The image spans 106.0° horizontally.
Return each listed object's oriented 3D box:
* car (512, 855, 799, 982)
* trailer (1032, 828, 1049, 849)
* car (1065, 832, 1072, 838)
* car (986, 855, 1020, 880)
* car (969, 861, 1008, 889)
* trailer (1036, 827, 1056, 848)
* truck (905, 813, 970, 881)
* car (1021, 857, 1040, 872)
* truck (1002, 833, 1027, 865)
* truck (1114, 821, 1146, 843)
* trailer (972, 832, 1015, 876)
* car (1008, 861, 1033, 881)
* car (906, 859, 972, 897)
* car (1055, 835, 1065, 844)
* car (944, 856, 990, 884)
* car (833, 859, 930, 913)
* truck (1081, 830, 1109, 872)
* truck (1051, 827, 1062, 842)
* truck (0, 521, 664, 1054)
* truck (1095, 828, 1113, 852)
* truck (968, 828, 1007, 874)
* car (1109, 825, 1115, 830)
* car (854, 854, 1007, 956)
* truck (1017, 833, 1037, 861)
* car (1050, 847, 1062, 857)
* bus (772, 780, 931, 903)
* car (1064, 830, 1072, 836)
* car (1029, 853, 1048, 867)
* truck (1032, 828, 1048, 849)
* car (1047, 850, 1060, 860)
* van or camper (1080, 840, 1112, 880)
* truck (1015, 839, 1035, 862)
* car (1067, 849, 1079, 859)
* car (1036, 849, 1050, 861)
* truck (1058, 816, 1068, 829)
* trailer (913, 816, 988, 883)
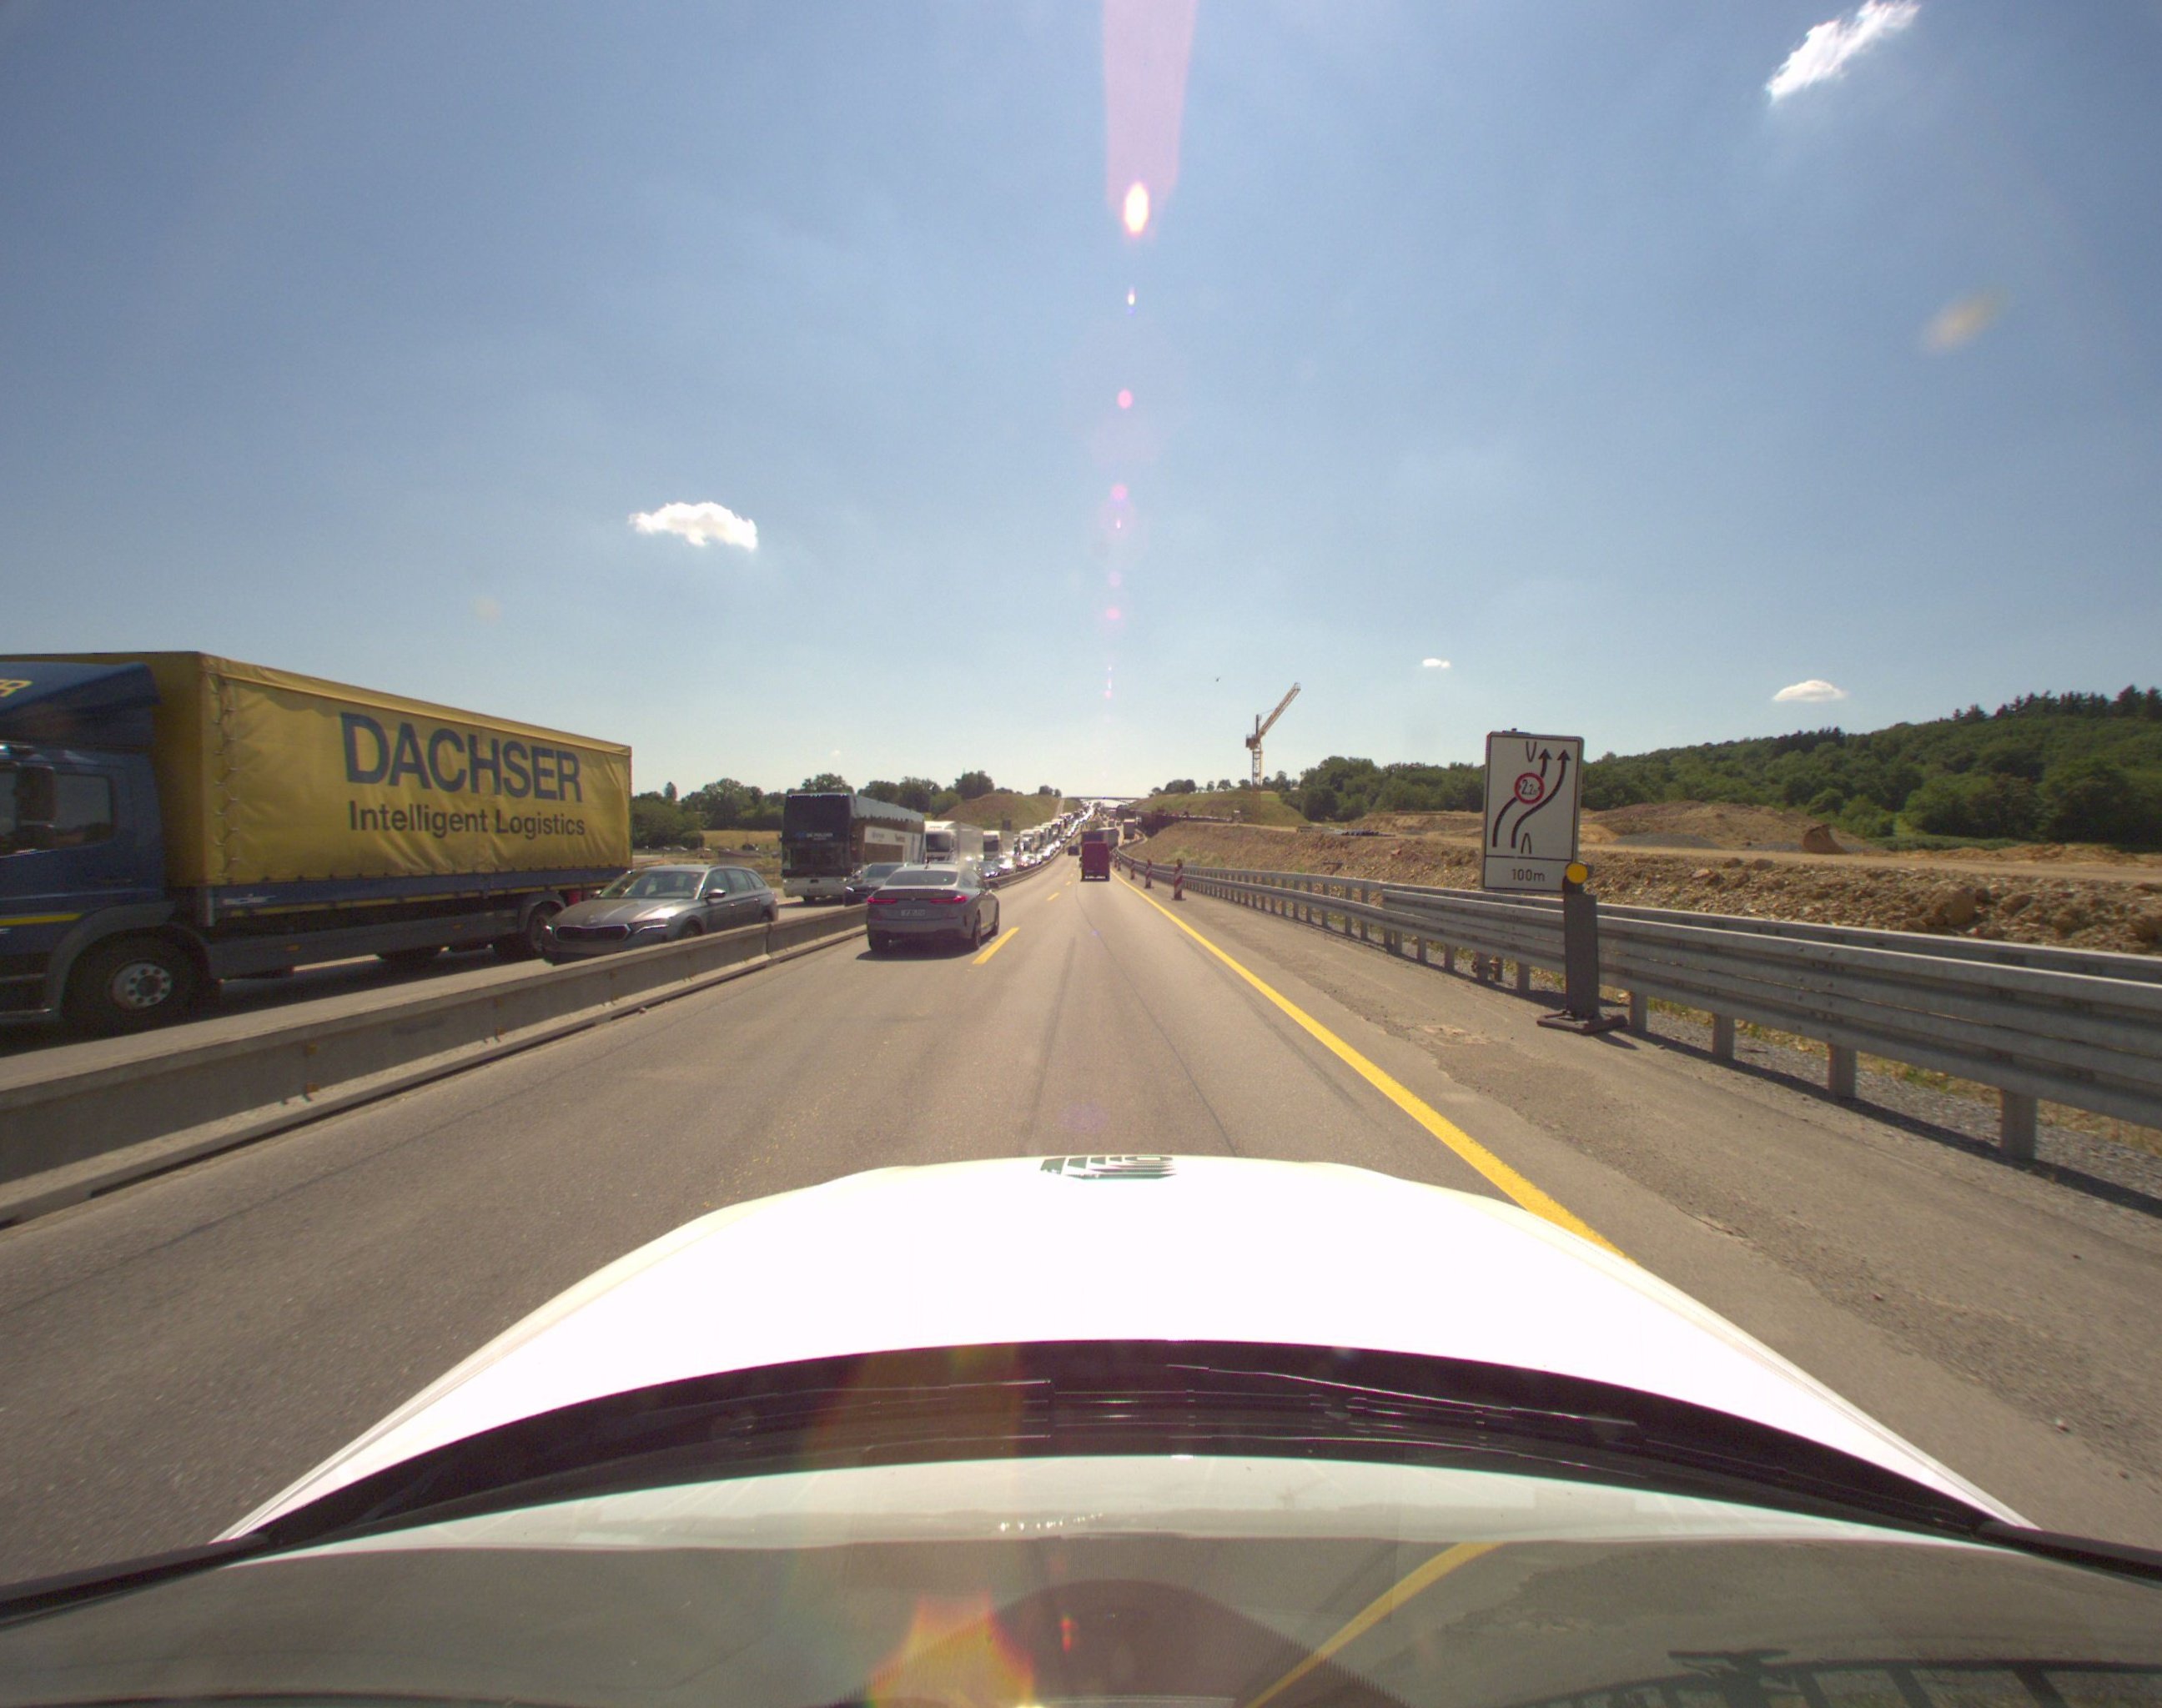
[{"bbox_3d":[-6.163,0.811,12.628,1.853,1.494,4.903,-3,0,-1],"label":"car"},{"bbox_3d":[-7.933,-3.021,160.444,2.774,3.931,11.007,0,0,0],"label":"trailer"},{"bbox_3d":[-3.310,-5.130,216.368,1.946,1.530,4.268,0,1,0],"label":"car"},{"bbox_3d":[-5.743,0.965,60.537,1.987,1.620,4.881,-2,0,0],"label":"car"},{"bbox_3d":[-5.580,1.265,49.725,1.807,1.437,5.120,1,1,0],"label":"car"},{"bbox_3d":[-7.464,-3.571,176.486,3.030,4.551,12.138,0,1,3],"label":"trailer"},{"bbox_3d":[-9.379,-0.457,54.078,3.087,4.197,6.702,0,0,0],"label":"truck"},{"bbox_3d":[-5.382,1.117,86.968,1.821,1.574,3.999,0,-1,0],"label":"car"},{"bbox_3d":[-8.396,-0.621,103.495,2.517,3.855,8.670,0,1,0],"label":"truck"},{"bbox_3d":[11.931,-5.268,197.007,5.124,4.996,13.927,-2,1,13],"label":"truck"},{"bbox_3d":[-8.913,-0.034,85.005,2.976,4.208,13.944,0,0,0],"label":"trailer"},{"bbox_3d":[-5.545,1.504,75.087,1.987,1.631,4.757,1,1,-1],"label":"car"},{"bbox_3d":[-6.018,0.956,35.100,1.912,1.423,5.090,1,0,0],"label":"car"},{"bbox_3d":[-4.509,-3.096,176.178,1.987,1.783,3.999,0,1,-1],"label":"car"},{"bbox_3d":[-6.001,0.813,43.300,1.827,1.423,4.682,-1,0,-1],"label":"car"},{"bbox_3d":[-6.154,0.922,25.735,1.832,1.443,4.930,0,1,0],"label":"car"},{"bbox_3d":[1.631,-0.377,96.276,3.010,4.692,6.934,-2,1,1],"label":"truck"},{"bbox_3d":[-6.032,-4.799,202.458,2.676,3.839,7.382,0,1,-1],"label":"truck"},{"bbox_3d":[-9.712,-0.453,10.957,2.792,4.152,10.080,-1,-1,1],"label":"truck"},{"bbox_3d":[4.098,-2.434,146.238,3.028,4.100,7.084,-1,-1,0],"label":"truck"},{"bbox_3d":[-8.921,-0.279,78.107,2.967,4.184,5.874,0,0,0],"label":"truck"},{"bbox_3d":[9.627,-8.240,253.982,1.946,1.641,4.267,0,0,0],"label":"car"},{"bbox_3d":[-2.511,0.777,14.821,1.845,1.452,4.743,0,1,1],"label":"car"},{"bbox_3d":[-8.472,-1.139,127.543,2.542,4.230,6.531,-1,1,1],"label":"truck"},{"bbox_3d":[-4.726,-0.352,154.344,1.988,1.783,3.998,-2,0,-1],"label":"car"},{"bbox_3d":[-9.282,-0.393,35.456,2.730,4.264,14.474,-1,0,0],"label":"bus"},{"bbox_3d":[-3.091,-4.966,196.592,1.741,1.409,4.000,0,1,0],"label":"car"},{"bbox_3d":[-5.095,0.742,98.591,1.987,1.557,4.339,-2,0,1],"label":"car"},{"bbox_3d":[-7.865,-2.981,155.675,2.774,3.869,5.458,-1,0,-1],"label":"truck"},{"bbox_3d":[-4.424,0.135,130.819,1.821,1.535,4.546,-2,0,0],"label":"car"},{"bbox_3d":[1.008,0.365,57.022,2.023,2.744,4.513,0,1,-1],"label":"van or camper"},{"bbox_3d":[-8.090,-0.491,117.981,2.426,3.148,7.022,-1,1,-1],"label":"truck"},{"bbox_3d":[-1.333,0.034,132.575,2.006,1.545,4.131,0,1,-1],"label":"car"},{"bbox_3d":[-5.367,0.159,115.389,1.821,1.651,4.545,1,0,0],"label":"car"},{"bbox_3d":[-5.603,-9.793,256.283,2.880,3.839,7.998,0,1,-1],"label":"truck"},{"bbox_3d":[-9.364,-0.309,60.418,3.130,4.383,14.078,0,0,1],"label":"trailer"}]
